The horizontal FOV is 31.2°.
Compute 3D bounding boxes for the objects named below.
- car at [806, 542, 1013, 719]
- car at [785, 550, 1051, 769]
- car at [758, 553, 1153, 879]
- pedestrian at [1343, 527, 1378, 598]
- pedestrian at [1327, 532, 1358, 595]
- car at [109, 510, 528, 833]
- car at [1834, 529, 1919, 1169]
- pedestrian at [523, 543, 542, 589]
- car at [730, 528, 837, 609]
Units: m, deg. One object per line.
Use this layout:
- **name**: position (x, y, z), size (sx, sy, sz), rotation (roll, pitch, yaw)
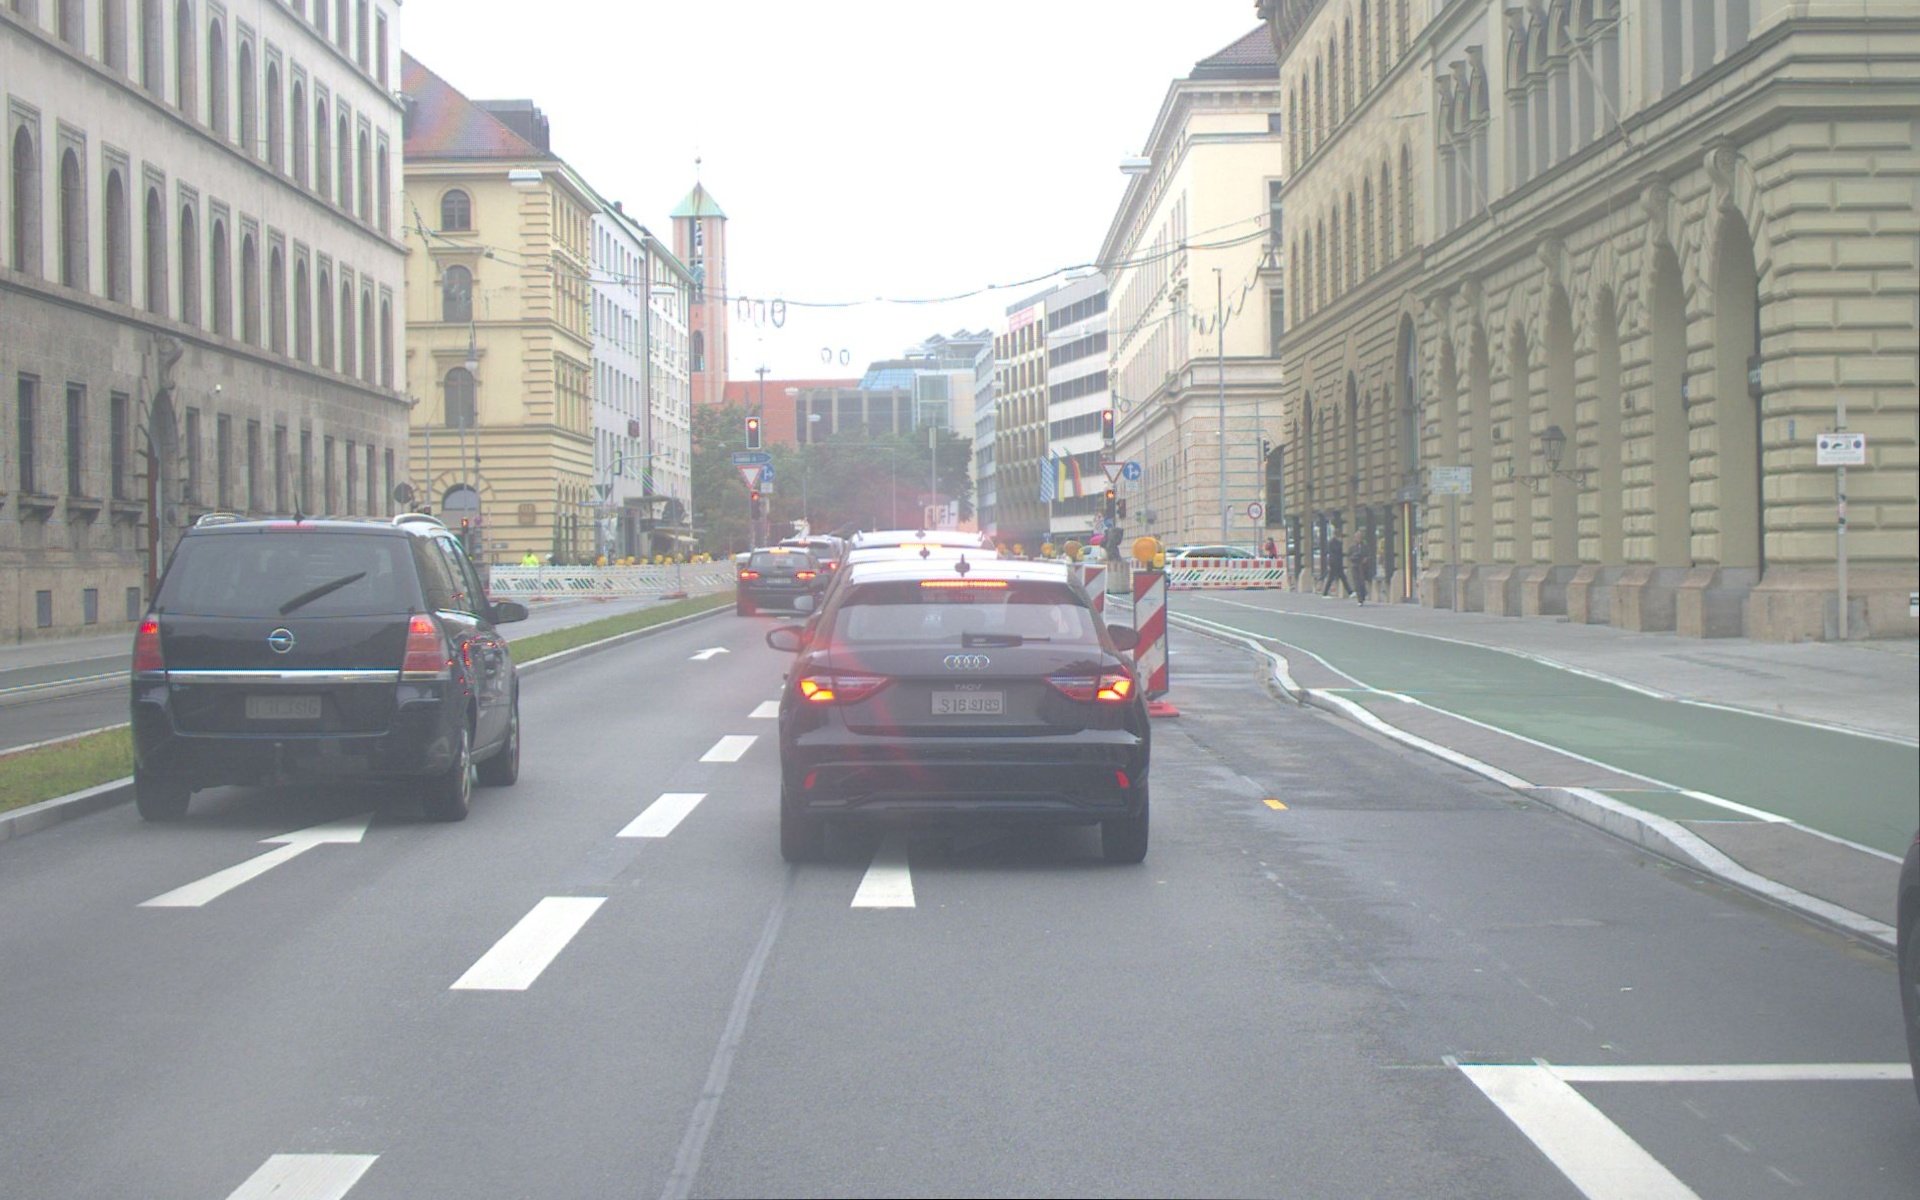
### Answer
- **car**: position (-0.436, 0.224, 31.013), size (1.730, 1.456, 4.000), rotation (1, 1, 0)
- **car**: position (-0.285, 0.365, 24.625), size (1.730, 1.398, 4.000), rotation (1, 1, 0)
- **car**: position (-0.028, 0.485, 17.206), size (1.730, 1.398, 4.000), rotation (1, 1, 0)
- **pedestrian**: position (9.161, -0.856, 78.662), size (0.710, 1.612, 0.754), rotation (-1, 1, -1)
- **pedestrian**: position (9.882, -0.938, 88.871), size (0.710, 1.612, 0.754), rotation (-1, 1, -1)
- **car**: position (-3.470, 0.323, 19.266), size (1.764, 1.610, 4.030), rotation (0, 1, -3)
- **car**: position (3.098, 0.617, 7.050), size (1.675, 1.515, 3.829), rotation (1, 1, 1)
- **pedestrian**: position (-16.831, -1.358, 135.338), size (0.656, 1.799, 0.727), rotation (-1, 1, -1)
- **car**: position (-3.641, -0.676, 71.662), size (1.993, 1.622, 4.000), rotation (-1, 1, 0)
